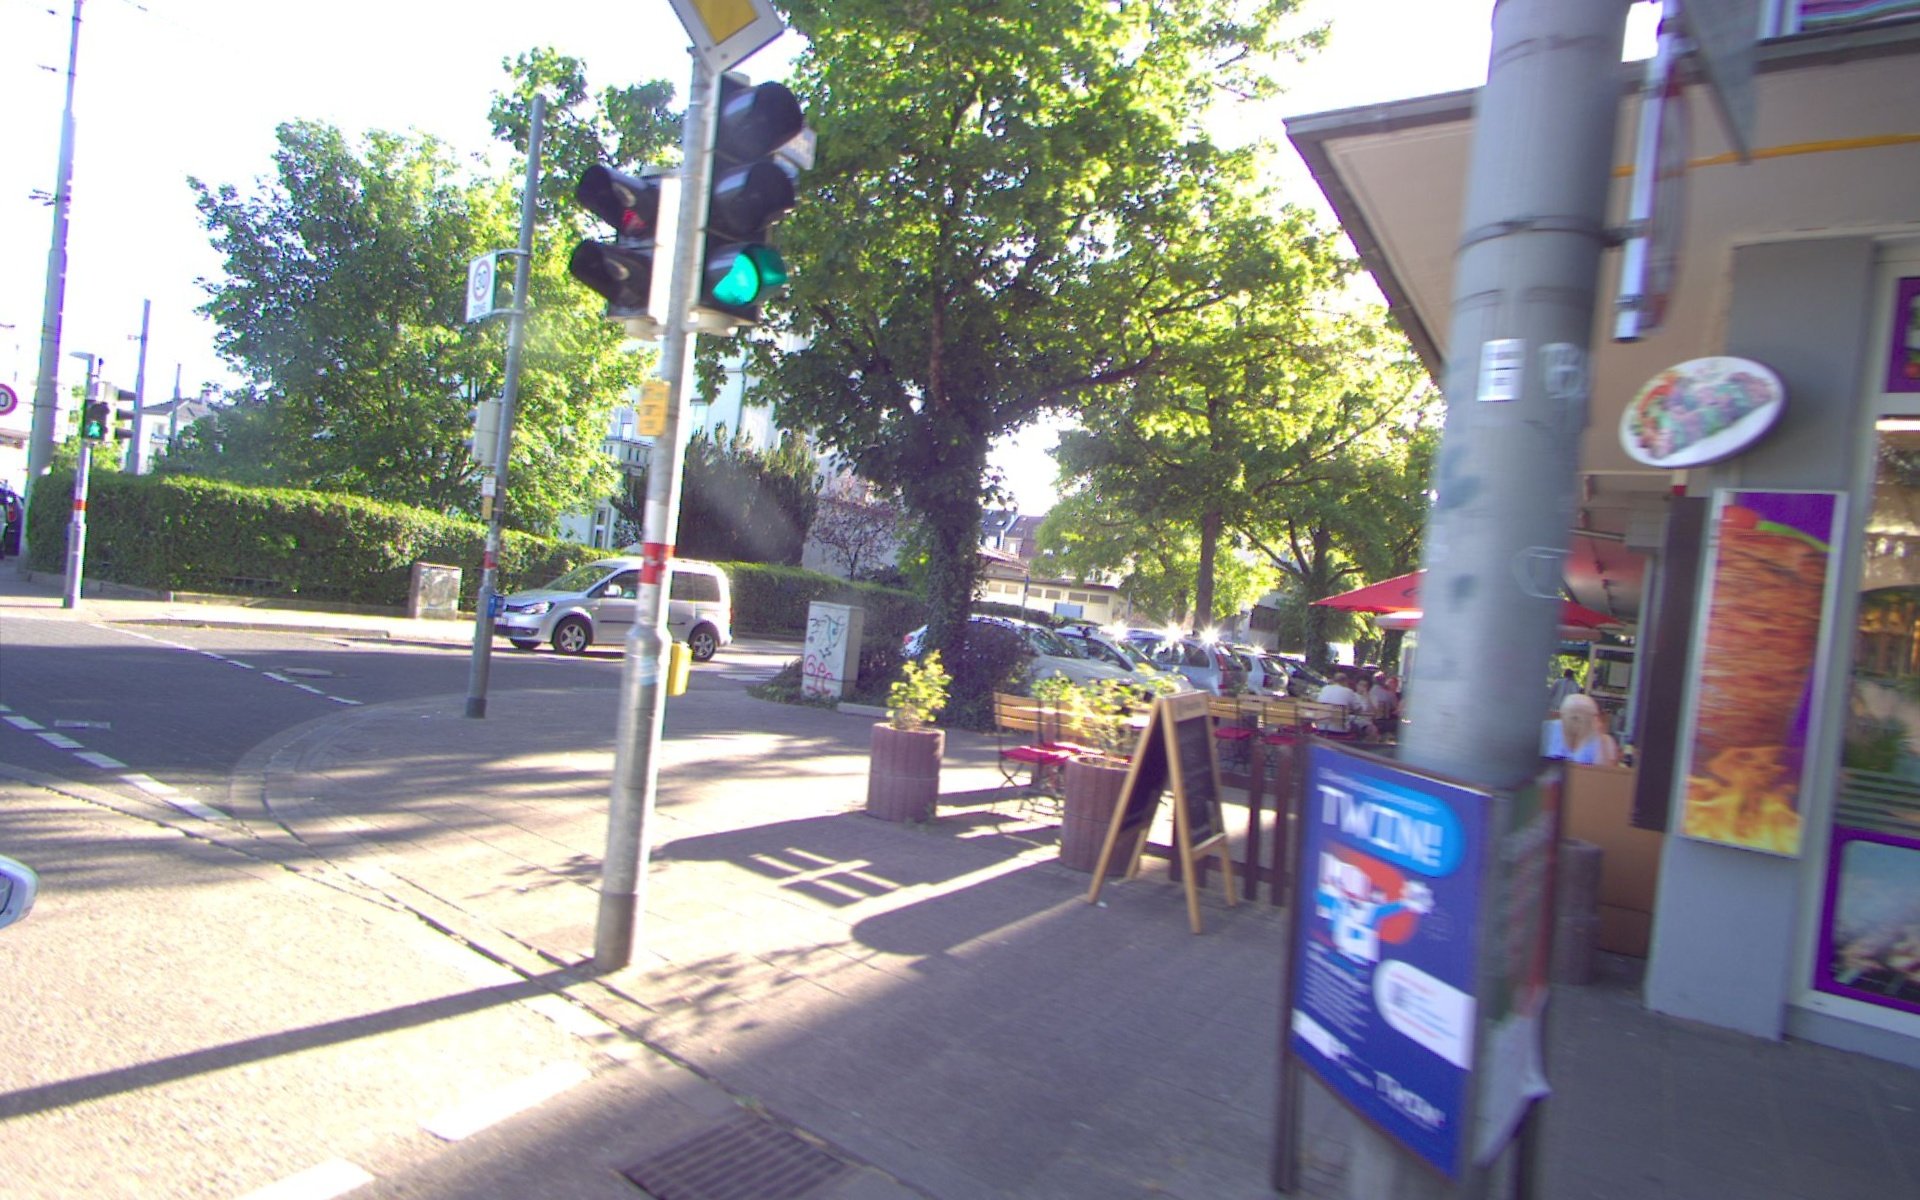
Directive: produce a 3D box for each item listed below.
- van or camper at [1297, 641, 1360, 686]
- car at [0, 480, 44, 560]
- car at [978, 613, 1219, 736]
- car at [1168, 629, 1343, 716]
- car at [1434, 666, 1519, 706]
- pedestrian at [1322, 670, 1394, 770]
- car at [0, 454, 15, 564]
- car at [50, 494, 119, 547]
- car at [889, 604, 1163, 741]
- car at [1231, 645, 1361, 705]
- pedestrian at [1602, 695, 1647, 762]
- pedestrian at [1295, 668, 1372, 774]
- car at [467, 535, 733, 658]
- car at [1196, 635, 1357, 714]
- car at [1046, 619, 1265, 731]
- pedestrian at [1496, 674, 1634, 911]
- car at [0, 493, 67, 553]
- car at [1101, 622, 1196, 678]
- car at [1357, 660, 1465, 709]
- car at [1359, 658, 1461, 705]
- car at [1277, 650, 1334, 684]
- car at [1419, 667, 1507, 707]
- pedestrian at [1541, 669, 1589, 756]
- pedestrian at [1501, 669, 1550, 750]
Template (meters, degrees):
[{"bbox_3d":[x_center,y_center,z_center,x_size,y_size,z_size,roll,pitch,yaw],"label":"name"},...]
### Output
[{"bbox_3d":[23.016,3.998,62.771,2.334,2.366,5.001,7,0,34],"label":"van or camper"},{"bbox_3d":[-23.832,-2.053,24.523,1.791,1.785,3.850,7,0,-38],"label":"car"},{"bbox_3d":[2.486,1.296,18.284,3.839,1.638,1.713,7,0,31],"label":"car"},{"bbox_3d":[7.490,1.809,25.571,3.807,1.638,1.713,7,0,31],"label":"car"},{"bbox_3d":[27.814,4.624,54.220,3.807,1.609,1.713,7,0,31],"label":"car"},{"bbox_3d":[5.400,1.612,13.636,0.650,1.233,0.738,7,0,33],"label":"pedestrian"},{"bbox_3d":[-20.662,-1.974,19.987,2.079,2.304,4.264,8,-2,-37],"label":"car"},{"bbox_3d":[-37.232,-3.377,42.865,1.791,1.951,3.900,7,0,-37],"label":"car"},{"bbox_3d":[1.027,1.117,16.348,3.968,1.601,1.707,7,0,31],"label":"car"},{"bbox_3d":[11.444,2.537,34.342,3.807,1.498,1.713,7,0,31],"label":"car"},{"bbox_3d":[14.556,2.814,22.043,0.670,1.377,0.564,6,1,-44],"label":"pedestrian"},{"bbox_3d":[4.775,1.528,12.840,0.650,1.233,0.738,7,0,33],"label":"pedestrian"},{"bbox_3d":[-6.379,0.013,18.246,1.780,1.835,4.175,3,-2,37],"label":"car"},{"bbox_3d":[8.742,2.036,27.841,3.807,1.638,1.713,7,0,31],"label":"car"},{"bbox_3d":[3.871,1.455,20.093,3.807,1.638,1.713,7,0,31],"label":"car"},{"bbox_3d":[3.871,1.193,6.434,0.597,1.358,0.492,7,1,35],"label":"pedestrian"},{"bbox_3d":[-27.090,-2.269,28.952,1.792,1.495,3.897,7,0,-39],"label":"car"},{"bbox_3d":[7.567,2.039,40.102,1.968,1.838,4.316,7,-1,34],"label":"car"},{"bbox_3d":[18.889,3.512,42.153,3.807,1.498,1.713,7,0,31],"label":"car"},{"bbox_3d":[19.853,3.579,44.406,3.807,1.498,1.713,7,0,31],"label":"car"},{"bbox_3d":[19.609,3.810,57.019,1.968,1.548,3.989,7,-1,34],"label":"car"},{"bbox_3d":[25.968,4.471,51.983,3.807,1.498,1.713,7,0,31],"label":"car"},{"bbox_3d":[13.513,2.509,22.463,0.664,1.833,0.537,7,1,39],"label":"pedestrian"},{"bbox_3d":[12.899,2.492,22.945,0.712,1.730,0.537,7,1,39],"label":"pedestrian"}]
